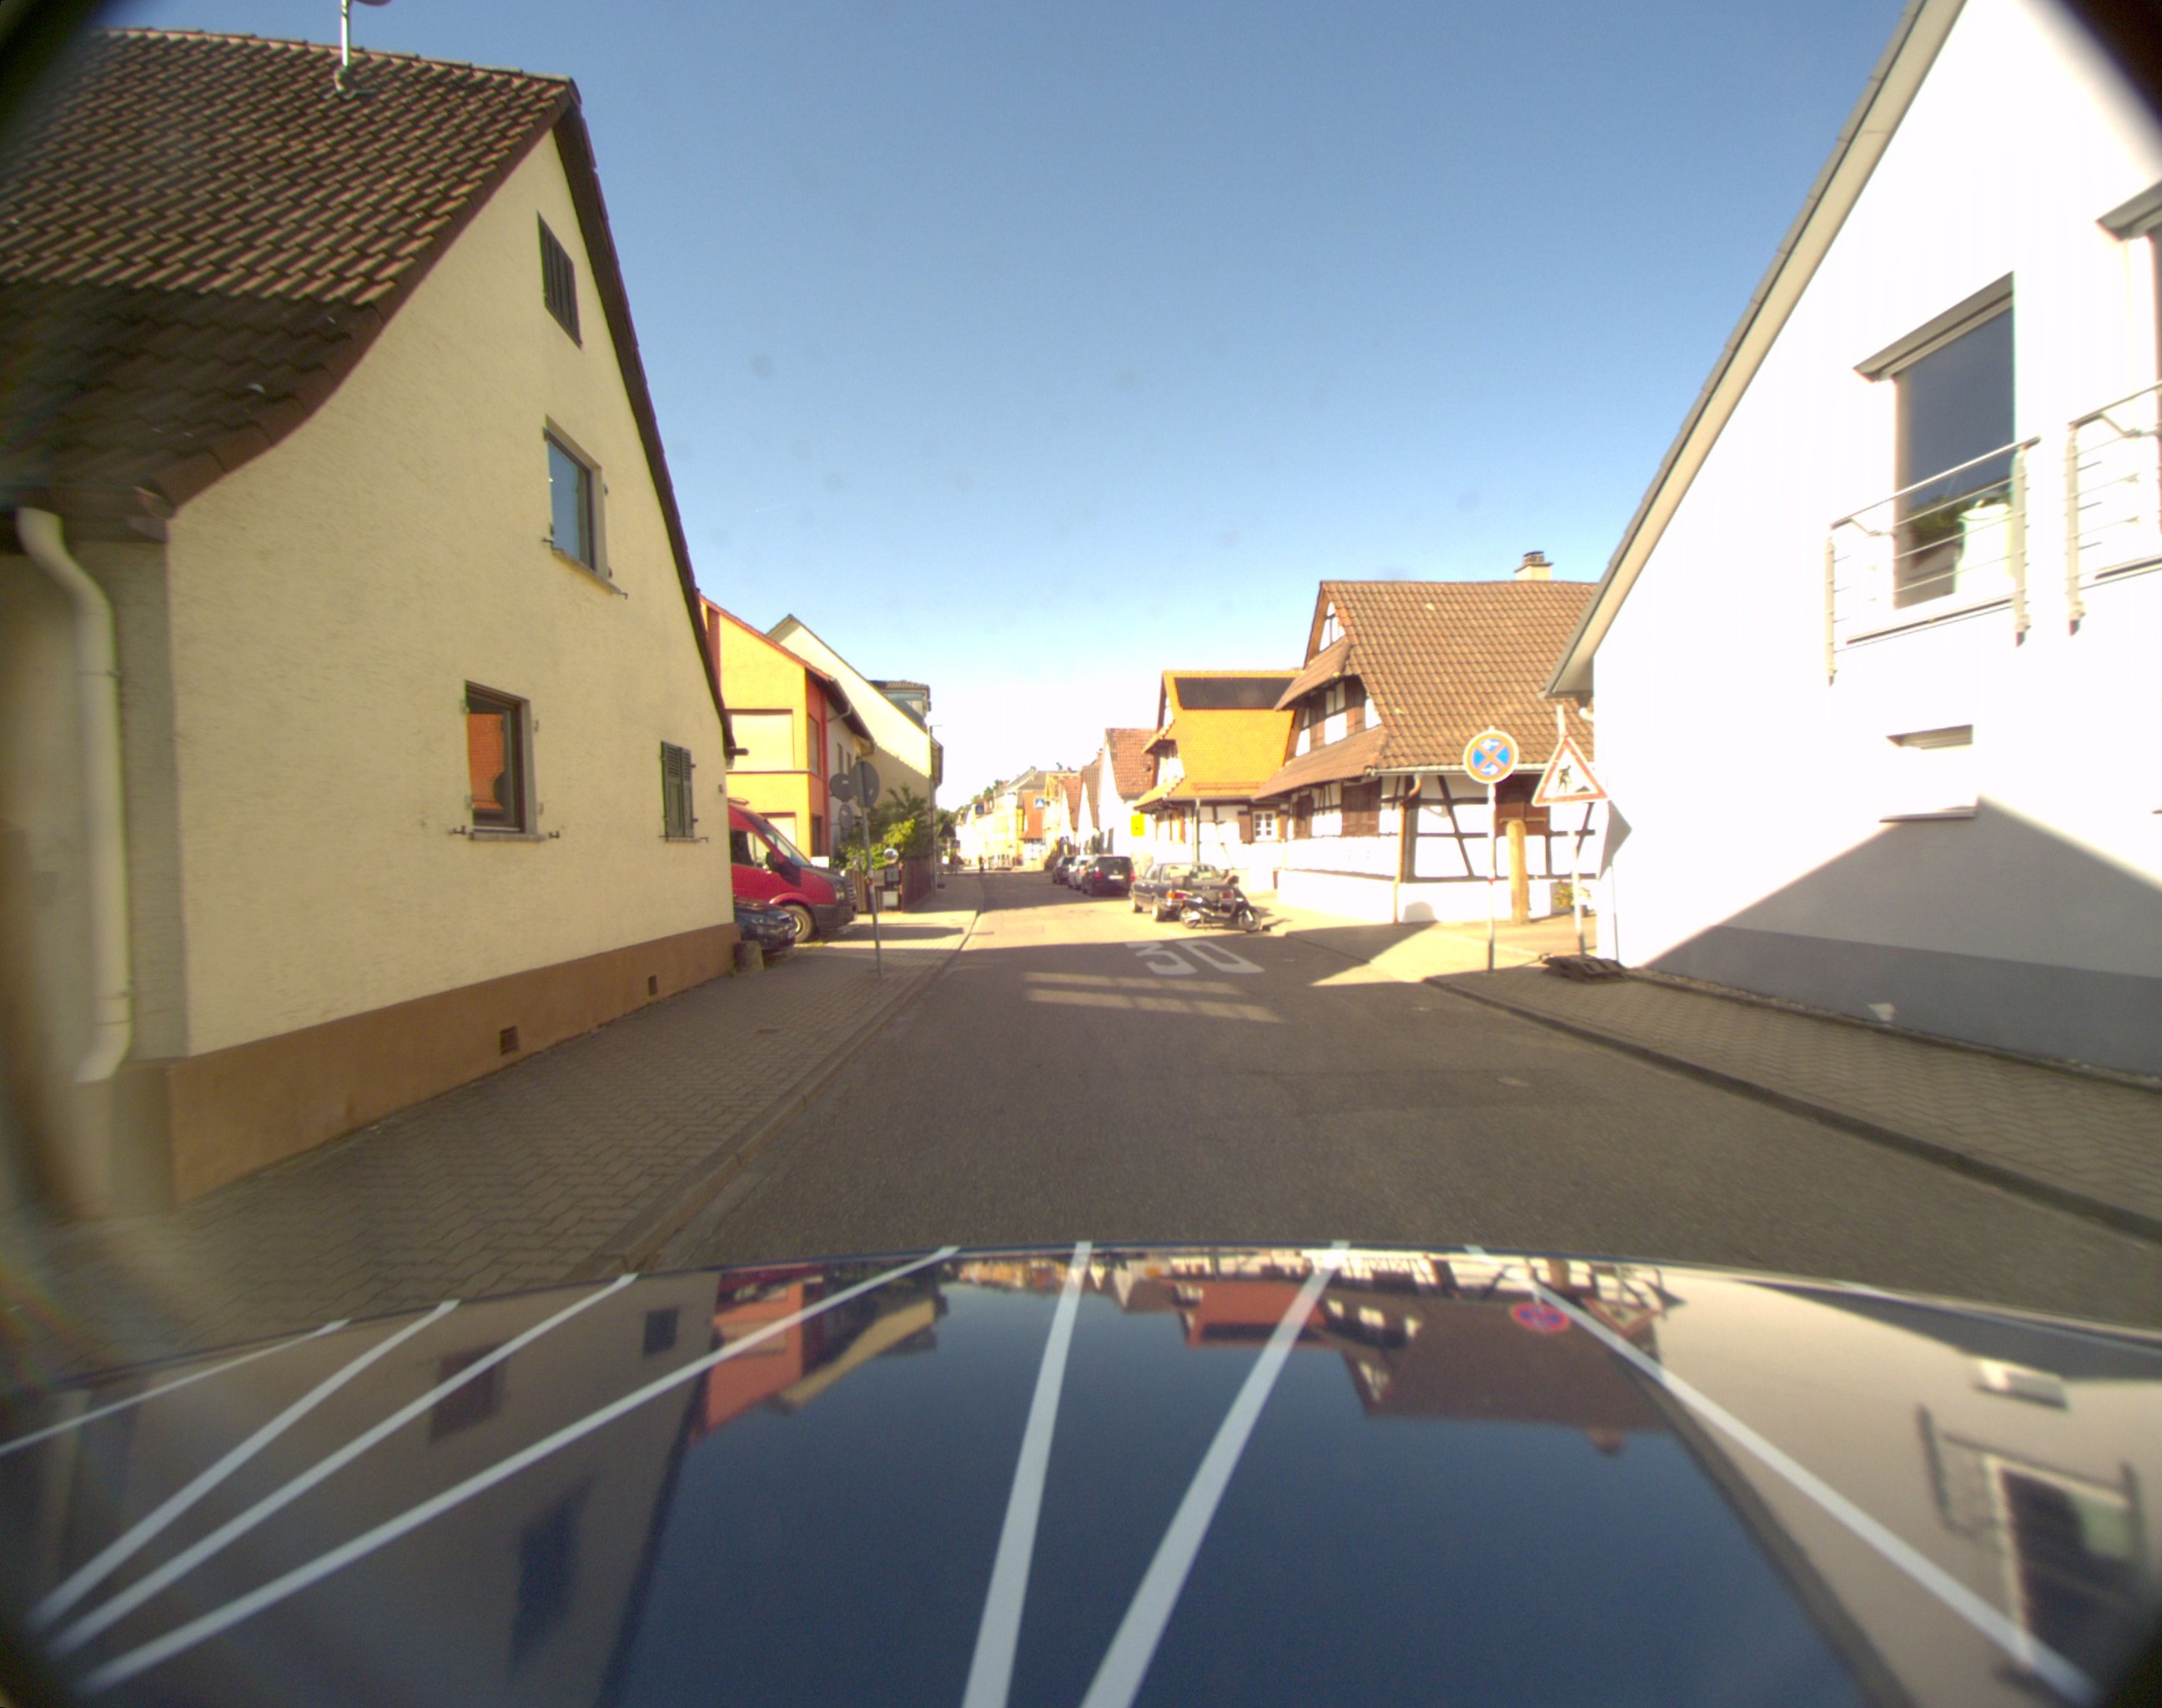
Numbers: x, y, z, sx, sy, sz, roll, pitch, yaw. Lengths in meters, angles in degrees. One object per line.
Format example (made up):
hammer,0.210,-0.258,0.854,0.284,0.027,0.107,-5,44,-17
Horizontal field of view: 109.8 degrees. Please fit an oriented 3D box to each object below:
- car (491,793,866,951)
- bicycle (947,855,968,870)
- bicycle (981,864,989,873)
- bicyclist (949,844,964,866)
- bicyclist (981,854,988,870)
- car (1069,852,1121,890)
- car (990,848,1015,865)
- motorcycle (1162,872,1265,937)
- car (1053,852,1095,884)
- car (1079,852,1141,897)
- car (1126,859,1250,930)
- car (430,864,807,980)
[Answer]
car,-7.123,0.299,14.147,5.823,2.640,1.965,0,2,-10
bicycle,-13.765,0.910,84.518,1.259,1.543,3.992,-5,2,-23
bicycle,-9.216,1.352,72.928,0.624,0.774,1.910,-4,2,-10
bicyclist,-13.855,0.120,84.643,1.259,2.295,1.240,-5,2,-23
bicyclist,-9.274,0.744,73.001,0.610,1.525,0.654,-4,2,-10
car,0.580,0.748,35.005,1.822,1.558,4.165,-1,1,-6
car,-8.836,0.276,85.225,1.883,1.870,4.828,-1,1,-17
motorcycle,2.670,0.998,15.419,1.989,1.224,0.628,-1,0,38
car,-0.454,0.729,42.396,1.748,1.604,3.996,-1,1,-9
car,1.058,0.737,30.161,1.789,1.595,4.358,-1,1,-6
car,2.460,0.880,18.840,1.850,1.398,5.033,0,1,-6
car,-6.550,0.931,11.264,4.388,1.478,1.838,0,1,-8
